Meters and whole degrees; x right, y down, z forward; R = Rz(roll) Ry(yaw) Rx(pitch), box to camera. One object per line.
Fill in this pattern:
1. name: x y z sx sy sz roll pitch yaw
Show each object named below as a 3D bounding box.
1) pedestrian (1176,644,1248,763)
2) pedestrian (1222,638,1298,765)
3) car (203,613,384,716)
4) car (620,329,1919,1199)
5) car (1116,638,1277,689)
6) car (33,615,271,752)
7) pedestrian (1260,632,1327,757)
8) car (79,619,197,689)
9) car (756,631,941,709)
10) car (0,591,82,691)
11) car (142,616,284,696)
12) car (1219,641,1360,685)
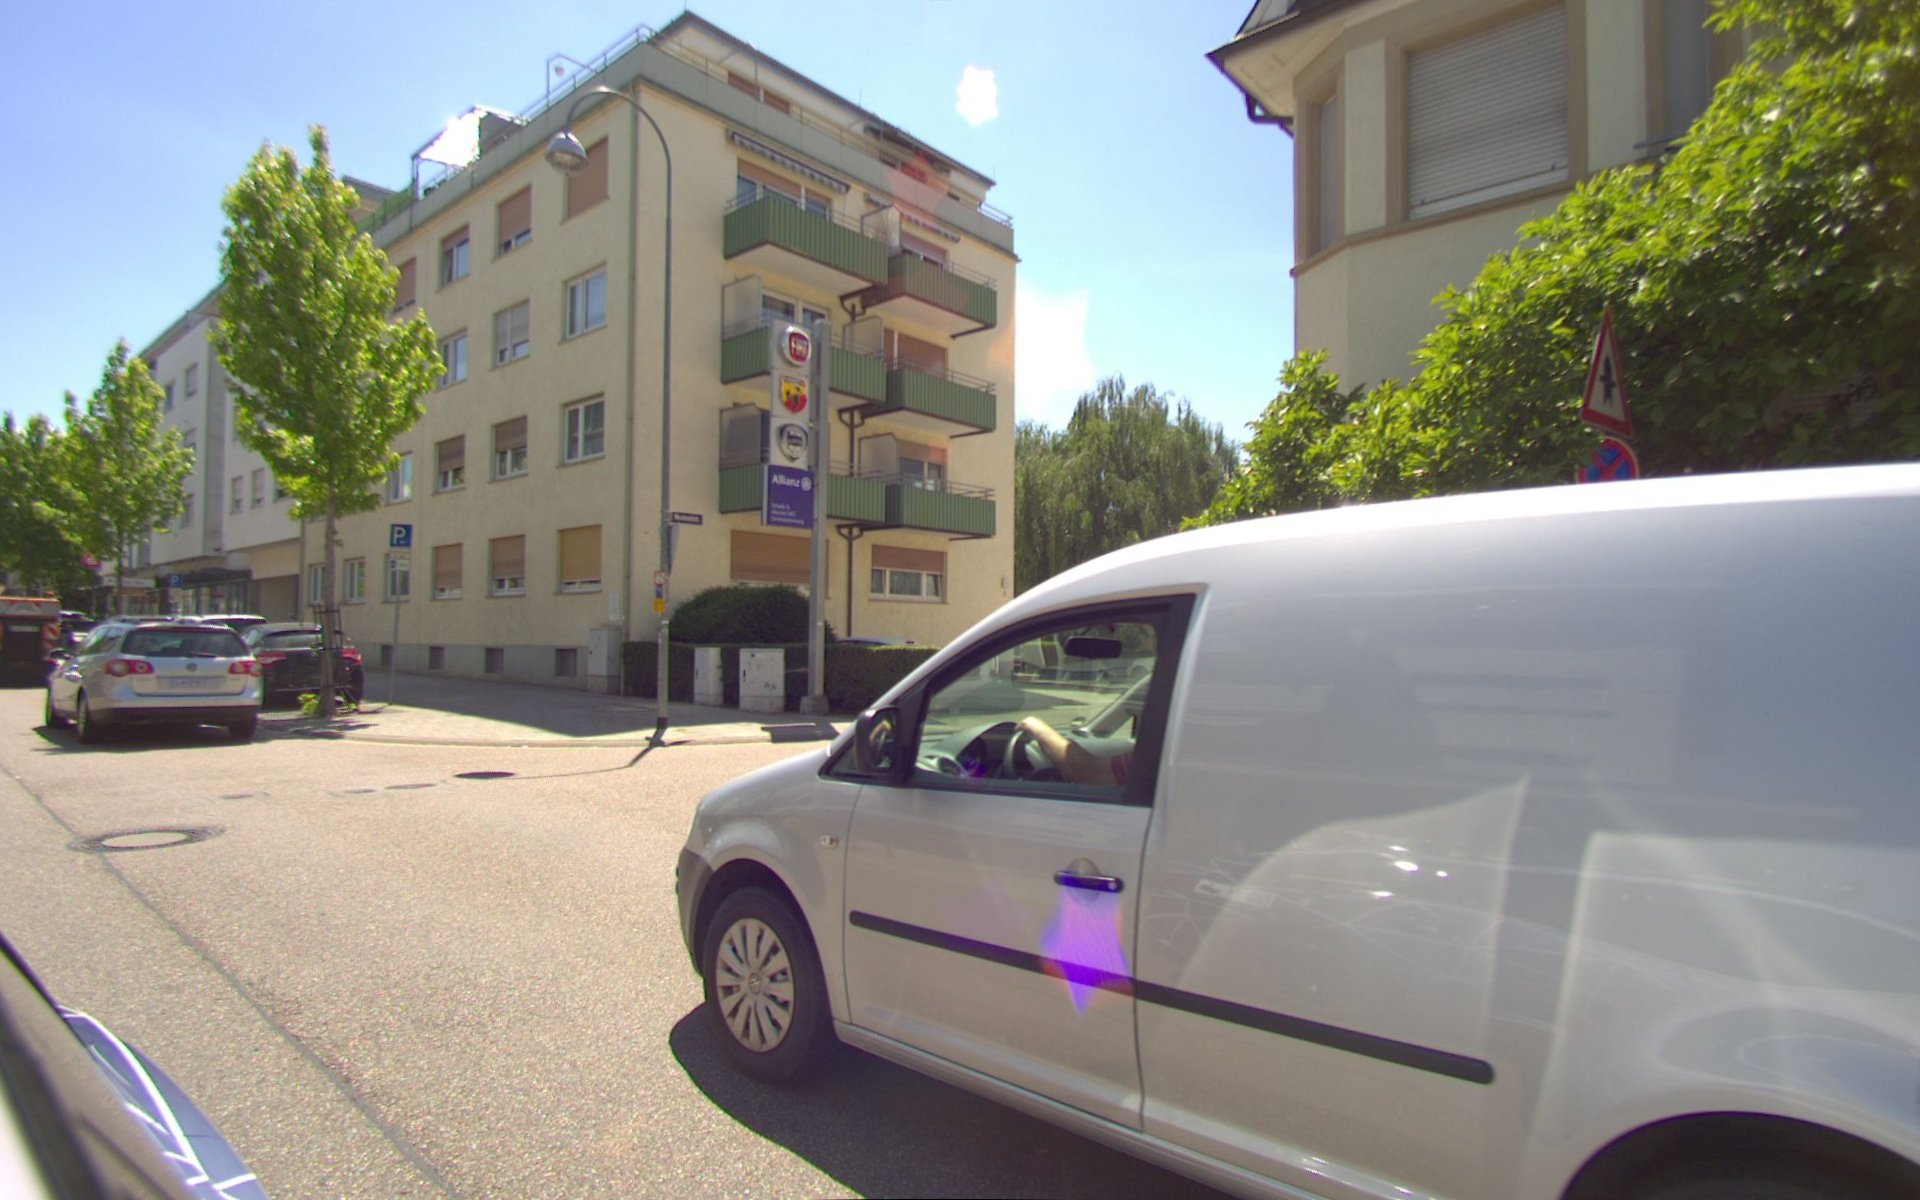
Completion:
1. pedestrian: 3.085 1.241 12.376 0.598 1.394 0.718 -1 -3 41
2. pedestrian: 3.456 1.138 11.655 0.598 1.394 0.718 -1 -3 41
3. car: -12.339 1.100 18.632 4.292 1.683 1.709 -1 -2 41
4. car: 0.930 0.595 2.932 4.230 1.840 1.683 -1 -4 41
5. car: 7.526 2.001 32.486 4.699 1.473 1.902 -1 -3 41
6. car: -10.784 0.998 13.390 4.292 1.520 1.709 -1 -3 41
7. pedestrian: 4.344 1.206 13.181 0.598 1.563 0.718 -1 -3 41
8. car: -21.477 1.334 26.386 4.292 1.683 1.709 -1 -2 41
9. car: -2.439 1.453 21.914 3.740 1.519 1.731 -1 -3 34
10. car: -22.358 0.960 23.967 4.292 2.183 1.709 -1 -4 41
11. car: -17.257 1.215 23.313 4.291 1.683 1.709 -1 -2 41
12. car: 12.372 2.333 38.166 4.699 1.473 1.902 -1 -3 41
